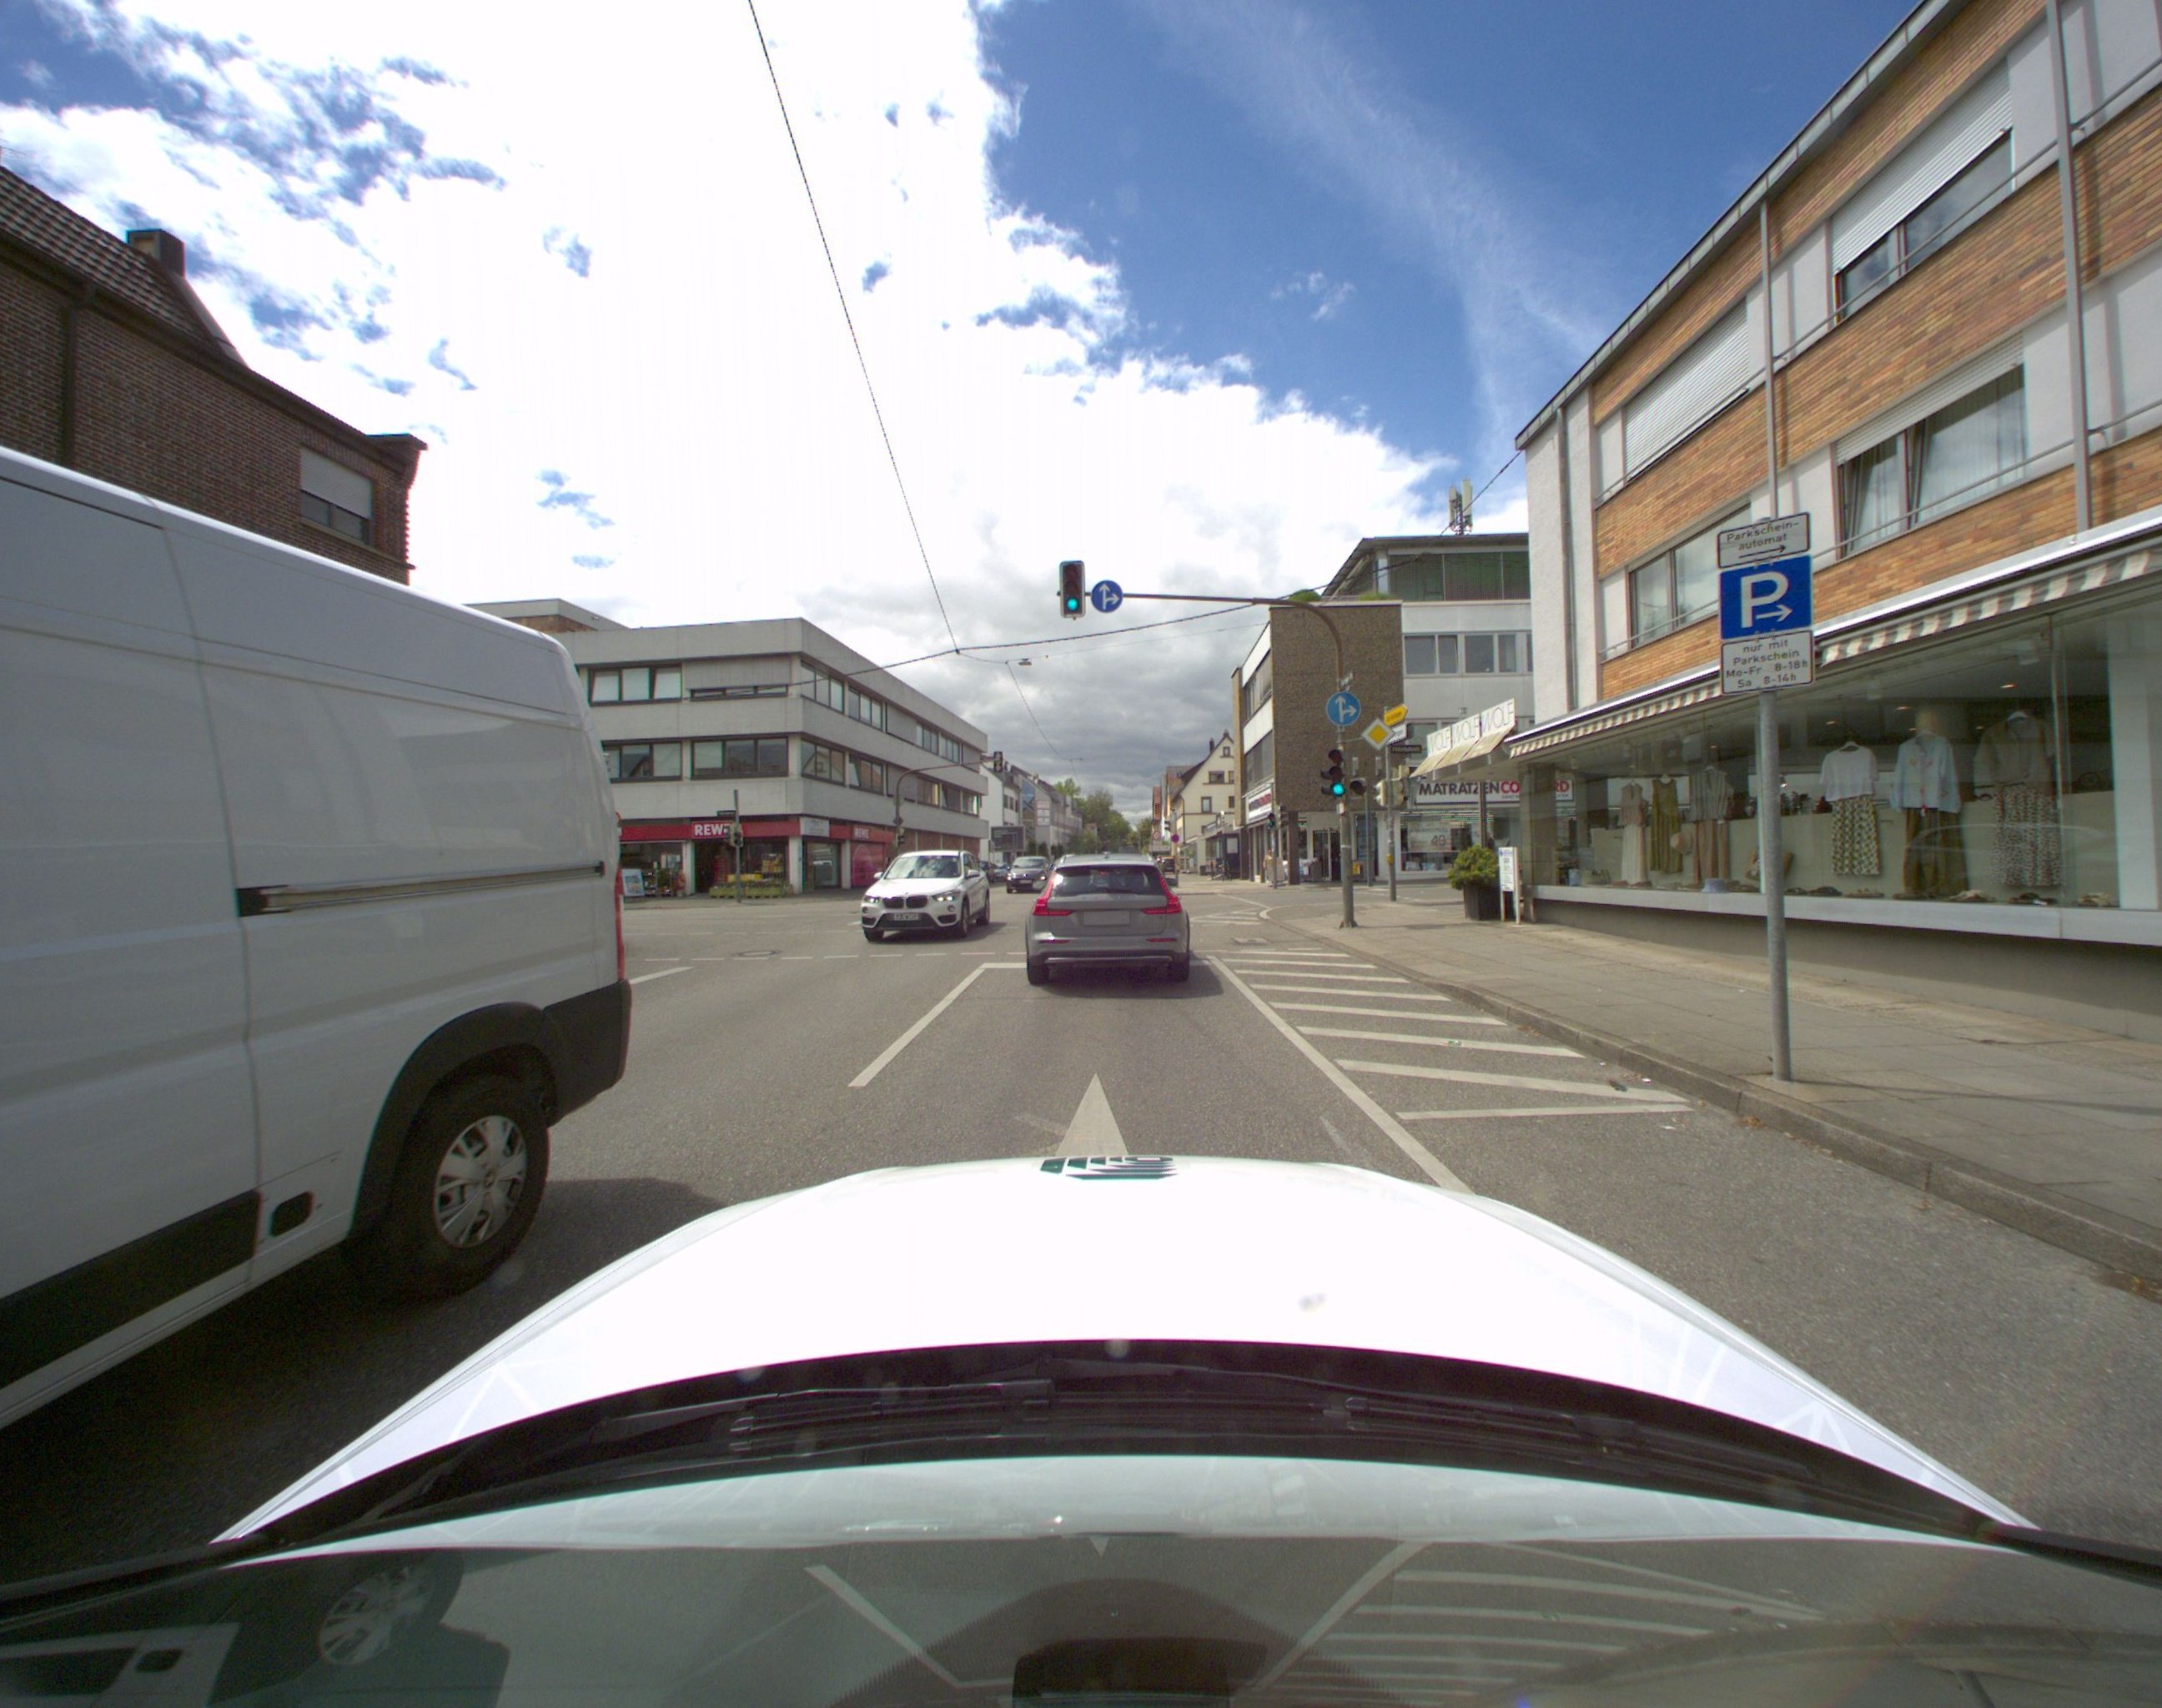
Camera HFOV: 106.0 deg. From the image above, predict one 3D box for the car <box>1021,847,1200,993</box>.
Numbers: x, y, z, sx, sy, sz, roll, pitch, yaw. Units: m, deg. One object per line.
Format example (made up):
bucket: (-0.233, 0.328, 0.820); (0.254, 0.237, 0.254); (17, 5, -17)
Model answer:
car: (0.376, 0.684, 10.453); (1.829, 1.486, 4.002); (-1, 0, 2)

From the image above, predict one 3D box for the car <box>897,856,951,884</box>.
car: (-8.580, 0.890, 44.917); (1.776, 1.464, 4.094); (0, -1, 6)

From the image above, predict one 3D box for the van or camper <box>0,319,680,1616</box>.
van or camper: (-3.210, 0.237, 1.462); (2.141, 2.556, 5.438); (-2, 0, 1)

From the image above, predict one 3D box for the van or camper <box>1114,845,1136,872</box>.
van or camper: (4.634, 0.520, 85.396); (2.114, 2.686, 4.785); (-2, 0, 3)

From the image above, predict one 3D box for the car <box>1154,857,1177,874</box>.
car: (7.557, 1.072, 73.435); (1.705, 1.464, 3.999); (0, -2, 1)

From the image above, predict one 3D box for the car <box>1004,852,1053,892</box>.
car: (-2.292, 0.768, 36.177); (1.783, 1.589, 4.101); (-3, -1, 1)

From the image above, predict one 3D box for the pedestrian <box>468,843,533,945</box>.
pedestrian: (-10.498, 0.718, 14.746); (0.623, 1.797, 0.720); (0, -2, 0)

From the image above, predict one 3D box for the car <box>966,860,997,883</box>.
car: (-6.834, 1.198, 56.324); (1.600, 1.543, 2.947); (0, 0, 3)

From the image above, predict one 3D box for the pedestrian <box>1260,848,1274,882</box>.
pedestrian: (8.293, 0.502, 36.330); (0.500, 1.459, 0.502); (-4, -2, 15)

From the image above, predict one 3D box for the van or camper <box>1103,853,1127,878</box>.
van or camper: (2.612, 0.919, 62.888); (1.812, 1.835, 4.001); (-1, -3, 2)

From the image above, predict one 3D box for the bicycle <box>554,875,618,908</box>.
bicycle: (-18.944, 1.429, 31.192); (1.880, 1.142, 0.774); (-3, -1, -8)

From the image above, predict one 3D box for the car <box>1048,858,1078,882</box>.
car: (-1.169, 1.100, 55.717); (1.676, 1.497, 3.970); (-3, -1, 3)

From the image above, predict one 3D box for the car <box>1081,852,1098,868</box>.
car: (1.039, 0.737, 98.590); (1.831, 1.917, 4.157); (0, -1, 2)

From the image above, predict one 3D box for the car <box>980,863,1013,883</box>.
car: (-6.466, 1.429, 62.669); (1.747, 1.426, 3.867); (-3, -1, 5)

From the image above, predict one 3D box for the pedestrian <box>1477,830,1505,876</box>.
pedestrian: (15.557, -0.023, 30.887); (0.582, 1.705, 0.614); (-4, 0, -30)

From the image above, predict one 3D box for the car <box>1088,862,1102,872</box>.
car: (2.164, 1.939, 125.876); (1.753, 1.426, 4.008); (-3, -1, 7)

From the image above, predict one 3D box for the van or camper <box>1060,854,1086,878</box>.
van or camper: (-0.608, 0.947, 67.721); (1.857, 1.898, 4.695); (-1, 0, 2)

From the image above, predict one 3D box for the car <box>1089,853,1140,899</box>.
car: (1.155, 0.740, 28.031); (1.644, 1.482, 3.609); (0, -1, 2)

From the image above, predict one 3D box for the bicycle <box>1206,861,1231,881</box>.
bicycle: (8.162, 0.993, 48.427); (0.555, 1.144, 2.288); (-2, -1, -15)

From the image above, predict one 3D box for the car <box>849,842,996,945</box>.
car: (-2.881, 0.676, 15.803); (1.773, 1.640, 4.223); (-3, 0, 3)

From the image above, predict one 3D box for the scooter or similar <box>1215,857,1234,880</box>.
scooter or similar: (8.051, 0.840, 45.608); (0.342, 1.253, 1.236); (-3, -1, -23)

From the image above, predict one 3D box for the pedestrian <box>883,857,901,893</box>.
pedestrian: (-8.763, 0.962, 37.743); (0.616, 1.641, 0.661); (-2, -1, 3)

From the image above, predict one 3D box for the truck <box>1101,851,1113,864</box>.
truck: (5.654, 0.758, 176.609); (2.266, 2.886, 7.085); (-2, 0, 3)
